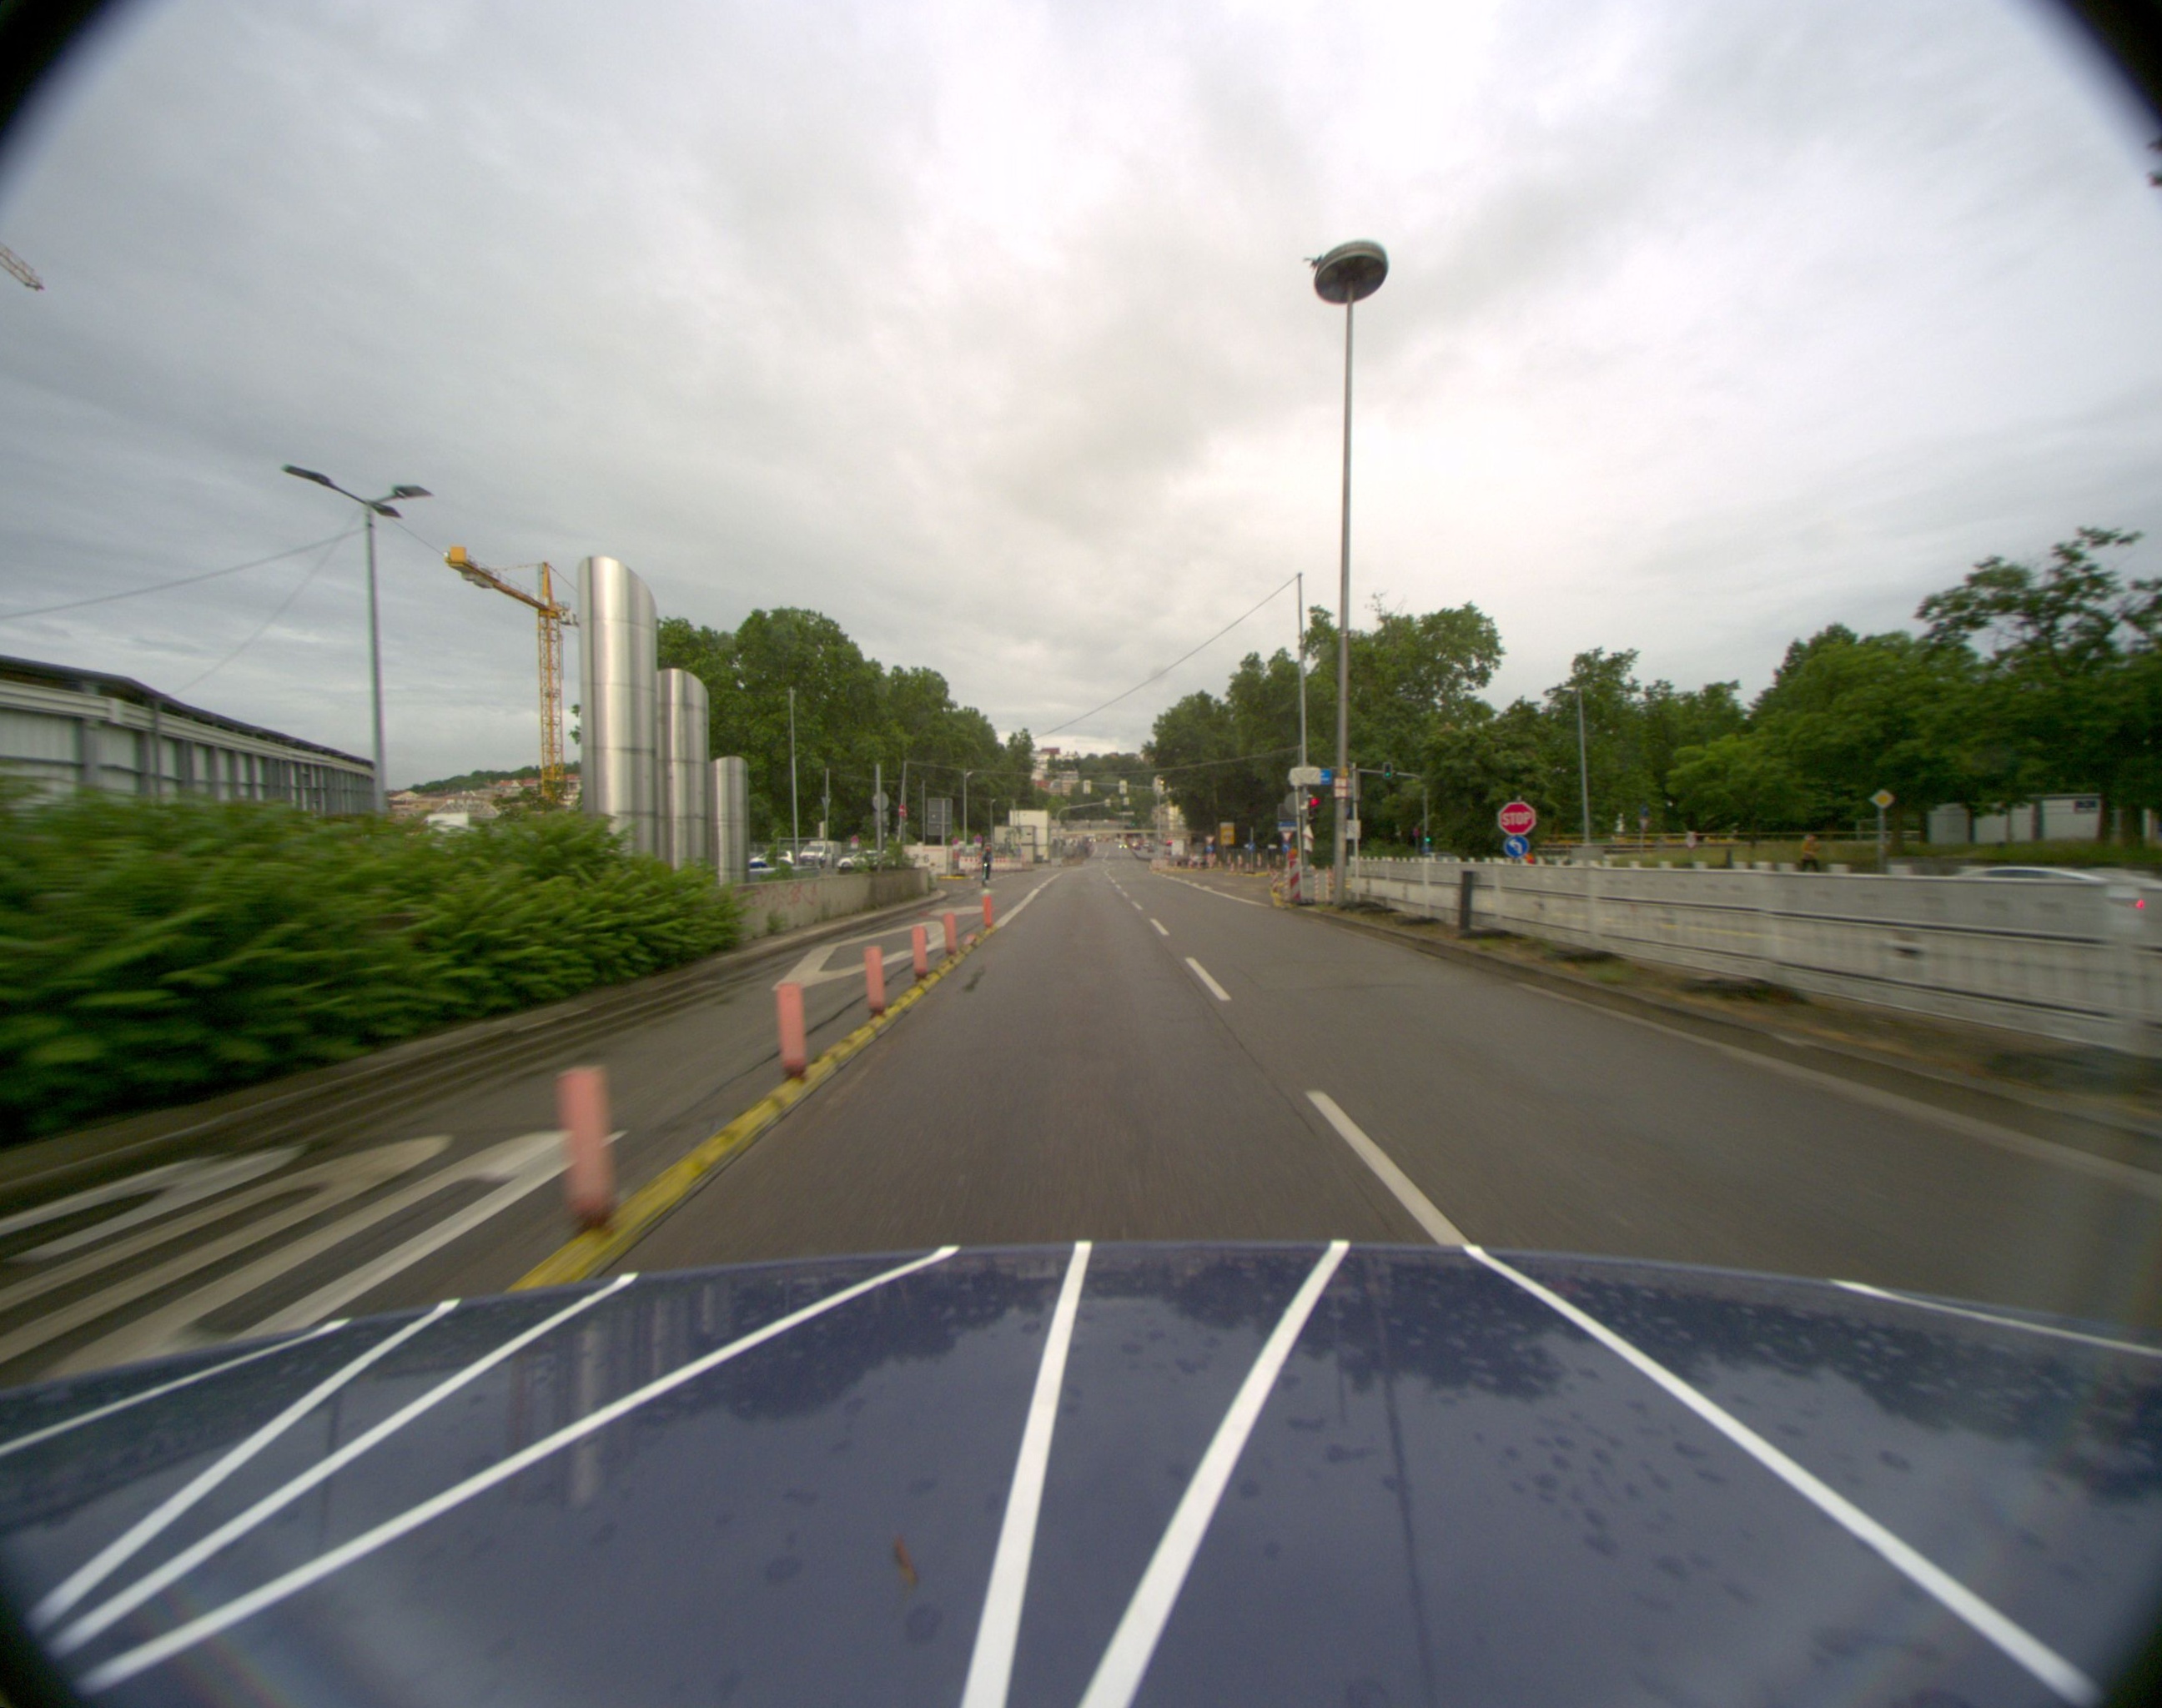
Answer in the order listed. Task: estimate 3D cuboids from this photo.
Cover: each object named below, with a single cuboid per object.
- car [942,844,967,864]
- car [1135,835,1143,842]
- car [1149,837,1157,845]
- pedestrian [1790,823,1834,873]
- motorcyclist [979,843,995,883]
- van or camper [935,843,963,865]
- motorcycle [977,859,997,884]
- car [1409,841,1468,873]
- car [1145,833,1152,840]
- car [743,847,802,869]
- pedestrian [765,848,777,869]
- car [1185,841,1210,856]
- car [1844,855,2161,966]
[{"bbox_3d":[-13.044,0.008,78.575,1.999,2.054,4.189,0,0,-2],"label":"car"},{"bbox_3d":[16.852,-4.454,219.924,1.998,2.002,4.000,-2,0,2],"label":"car"},{"bbox_3d":[19.120,-3.392,201.931,1.998,2.002,4.000,-2,0,2],"label":"car"},{"bbox_3d":[25.792,-0.211,26.816,0.558,1.714,0.951,-2,-1,0],"label":"pedestrian"},{"bbox_3d":[-4.714,0.460,38.289,0.726,2.024,0.587,0,0,0],"label":"motorcyclist"},{"bbox_3d":[-12.597,-0.023,72.598,2.123,2.017,5.011,0,0,-4],"label":"van or camper"},{"bbox_3d":[-4.716,0.873,38.313,0.730,1.221,2.161,0,0,0],"label":"motorcycle"},{"bbox_3d":[18.015,0.133,38.414,1.682,1.534,3.173,0,1,4],"label":"car"},{"bbox_3d":[20.766,-5.518,234.134,1.998,2.002,4.000,-2,0,2],"label":"car"},{"bbox_3d":[-23.200,0.272,57.259,3.729,1.627,1.999,0,0,-7],"label":"car"},{"bbox_3d":[-22.960,0.322,56.213,0.652,1.565,0.662,0,0,-7],"label":"pedestrian"},{"bbox_3d":[13.481,-0.633,88.061,1.664,1.533,4.155,-2,-1,-9],"label":"car"},{"bbox_3d":[17.649,0.896,14.270,1.998,1.622,4.819,-2,0,5],"label":"car"}]
